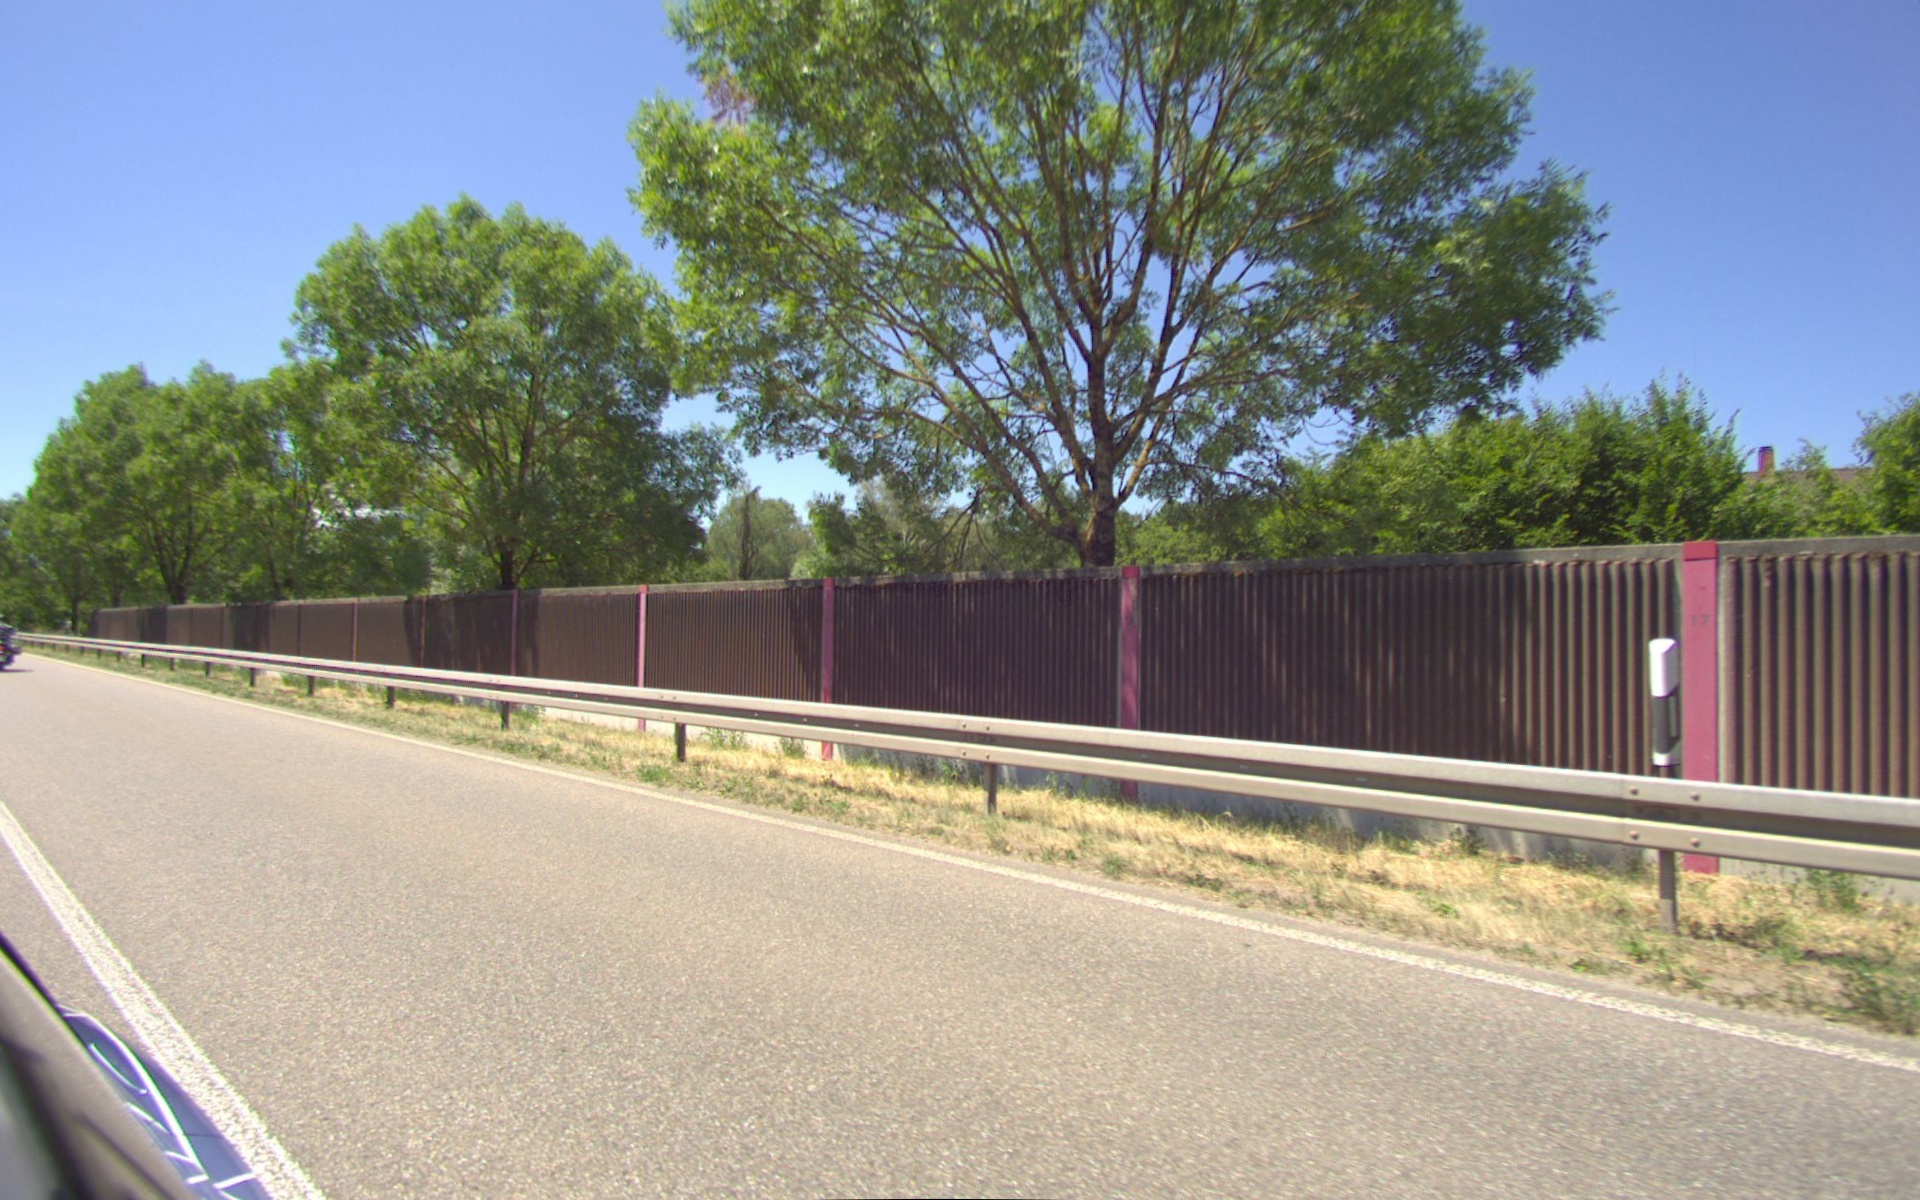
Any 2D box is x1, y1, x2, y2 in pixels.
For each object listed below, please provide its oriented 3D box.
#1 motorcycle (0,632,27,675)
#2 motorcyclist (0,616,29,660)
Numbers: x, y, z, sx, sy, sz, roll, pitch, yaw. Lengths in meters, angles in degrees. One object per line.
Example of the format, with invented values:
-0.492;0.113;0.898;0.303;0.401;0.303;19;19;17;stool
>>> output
-26.295;1.448;27.658;2.335;1.117;0.943;-2;-1;42;motorcycle
-26.041;1.040;27.528;0.927;1.139;0.928;-1;1;41;motorcyclist
